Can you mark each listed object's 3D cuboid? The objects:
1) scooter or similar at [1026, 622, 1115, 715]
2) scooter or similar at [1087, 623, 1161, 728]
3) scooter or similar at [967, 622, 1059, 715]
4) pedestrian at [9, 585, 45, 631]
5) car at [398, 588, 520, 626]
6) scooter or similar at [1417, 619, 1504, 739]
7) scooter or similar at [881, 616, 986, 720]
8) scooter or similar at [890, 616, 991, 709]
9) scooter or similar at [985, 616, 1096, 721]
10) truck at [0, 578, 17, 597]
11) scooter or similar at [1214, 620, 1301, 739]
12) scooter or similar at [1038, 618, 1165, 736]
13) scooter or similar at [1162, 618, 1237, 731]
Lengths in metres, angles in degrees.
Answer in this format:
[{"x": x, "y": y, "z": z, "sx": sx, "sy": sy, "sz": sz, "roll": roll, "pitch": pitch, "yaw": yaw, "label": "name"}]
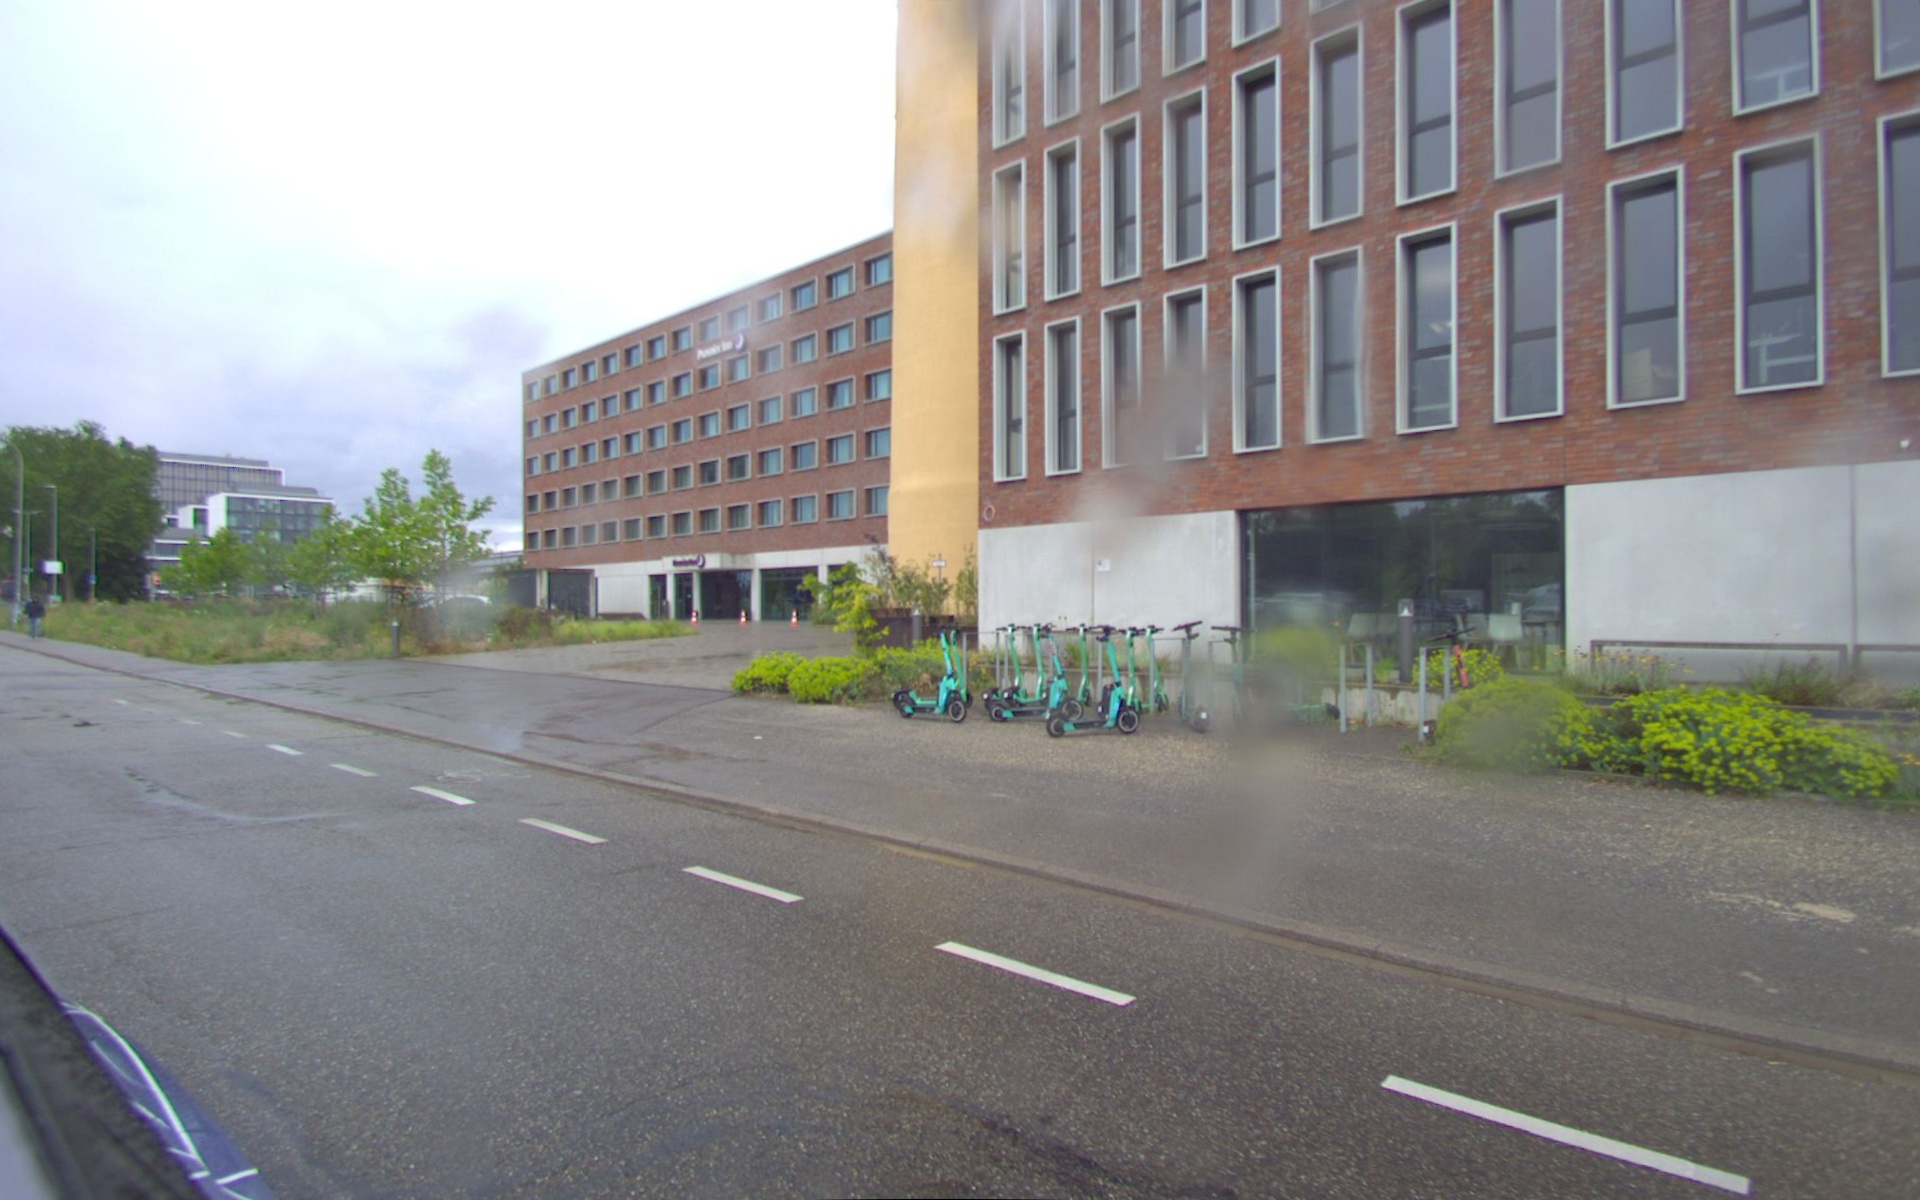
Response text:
[{"x": 1.506, "y": 0.905, "z": 13.649, "sx": 1.301, "sy": 1.186, "sz": 0.468, "roll": 2, "pitch": -2, "yaw": -44, "label": "scooter or similar"}, {"x": 1.992, "y": 0.878, "z": 12.181, "sx": 0.465, "sy": 1.186, "sz": 1.308, "roll": 0, "pitch": -2, "yaw": 29, "label": "scooter or similar"}, {"x": 0.729, "y": 0.897, "z": 13.595, "sx": 1.301, "sy": 1.186, "sz": 0.468, "roll": 2, "pitch": -2, "yaw": -44, "label": "scooter or similar"}, {"x": -35.934, "y": 0.301, "z": 38.984, "sx": 1.026, "sy": 1.731, "sz": 0.899, "roll": 0, "pitch": -1, "yaw": 41, "label": "pedestrian"}, {"x": -22.433, "y": 0.335, "z": 45.450, "sx": 1.997, "sy": 1.653, "sz": 4.478, "roll": 0, "pitch": -1, "yaw": 38, "label": "car"}, {"x": 5.400, "y": 0.825, "z": 10.897, "sx": 1.211, "sy": 1.217, "sz": 0.418, "roll": 2, "pitch": -2, "yaw": -42, "label": "scooter or similar"}, {"x": -0.344, "y": 0.831, "z": 12.729, "sx": 1.319, "sy": 1.239, "sz": 0.461, "roll": -1, "pitch": -2, "yaw": 38, "label": "scooter or similar"}, {"x": -0.271, "y": 0.852, "z": 13.823, "sx": 1.299, "sy": 1.239, "sz": 0.509, "roll": 1, "pitch": -2, "yaw": -11, "label": "scooter or similar"}, {"x": 0.991, "y": 0.829, "z": 12.455, "sx": 1.307, "sy": 1.239, "sz": 0.465, "roll": 0, "pitch": -2, "yaw": 13, "label": "scooter or similar"}, {"x": -138.515, "y": -1.739, "z": 146.532, "sx": 6.971, "sy": 2.639, "sz": 2.063, "roll": 0, "pitch": -2, "yaw": 40, "label": "truck"}, {"x": 3.227, "y": 0.840, "z": 11.049, "sx": 0.460, "sy": 1.217, "sz": 1.210, "roll": 1, "pitch": -2, "yaw": -7, "label": "scooter or similar"}, {"x": 1.555, "y": 0.826, "z": 11.087, "sx": 1.298, "sy": 1.239, "sz": 0.469, "roll": 1, "pitch": -2, "yaw": -20, "label": "scooter or similar"}, {"x": 2.768, "y": 0.841, "z": 11.782, "sx": 0.460, "sy": 1.239, "sz": 1.210, "roll": 1, "pitch": -2, "yaw": -7, "label": "scooter or similar"}]
